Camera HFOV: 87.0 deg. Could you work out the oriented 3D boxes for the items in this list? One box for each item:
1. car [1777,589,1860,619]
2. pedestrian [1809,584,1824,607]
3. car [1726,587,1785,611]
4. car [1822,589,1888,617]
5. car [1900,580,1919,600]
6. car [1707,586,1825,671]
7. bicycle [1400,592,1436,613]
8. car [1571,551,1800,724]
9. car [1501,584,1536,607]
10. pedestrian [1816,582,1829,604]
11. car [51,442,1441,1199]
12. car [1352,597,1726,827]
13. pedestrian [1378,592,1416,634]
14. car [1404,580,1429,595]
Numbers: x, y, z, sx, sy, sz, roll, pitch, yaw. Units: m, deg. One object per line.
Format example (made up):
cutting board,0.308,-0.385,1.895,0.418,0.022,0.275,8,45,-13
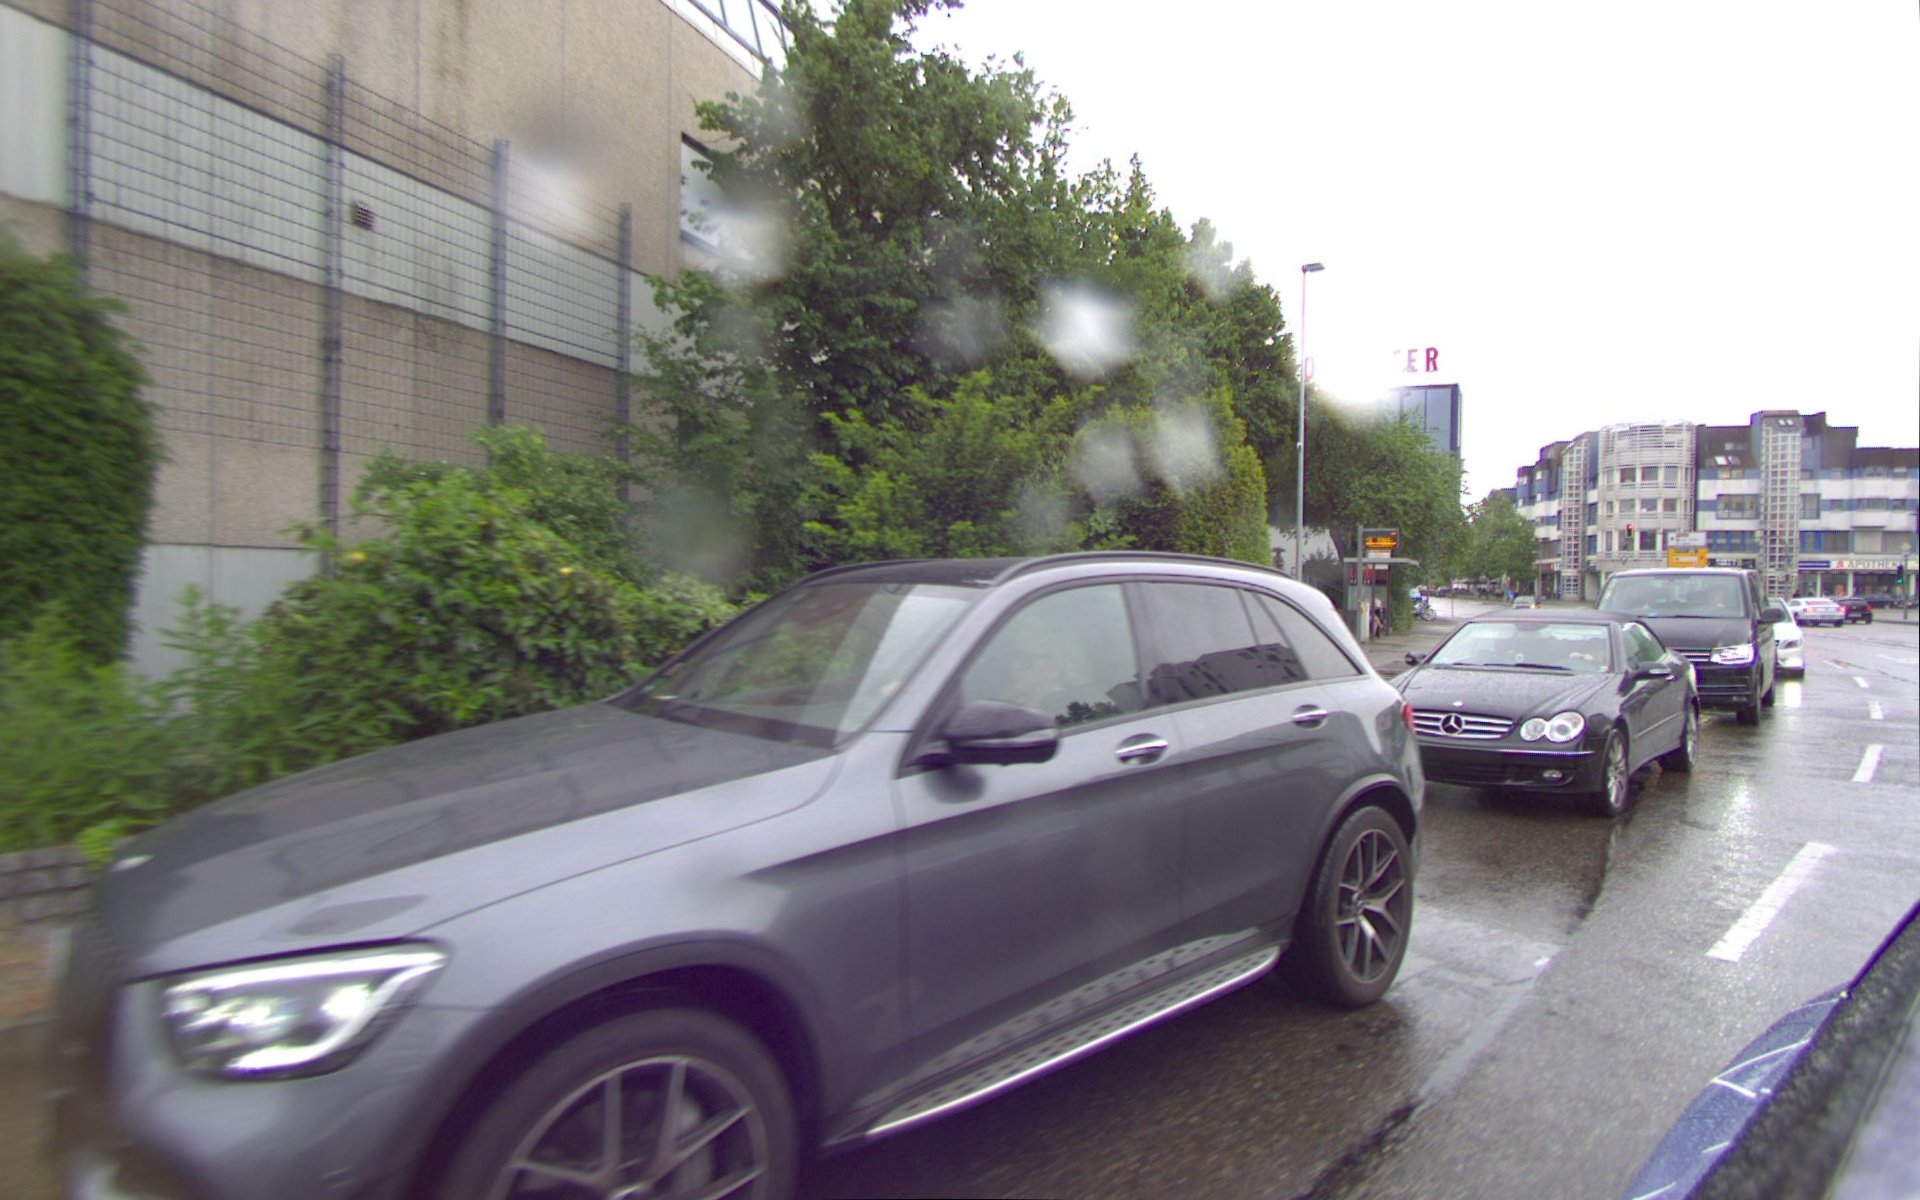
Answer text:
car,43.745,0.169,51.689,1.827,1.479,4.772,0,1,23
pedestrian,66.783,-0.348,78.913,0.833,1.765,0.578,0,0,34
car,53.361,-0.071,67.985,1.682,1.484,4.082,2,1,17
car,48.526,0.170,54.949,1.747,1.445,3.961,0,0,28
car,84.637,-0.836,88.010,3.833,1.742,1.742,0,0,10
car,16.523,0.507,20.827,1.754,1.569,4.267,0,0,38
bicycle,26.415,0.155,58.365,1.818,1.124,0.688,2,1,27
car,9.848,0.375,13.578,1.995,1.918,4.517,0,1,42
car,40.173,-0.329,72.850,1.718,1.616,3.971,0,1,22
pedestrian,67.937,-0.547,79.721,0.574,1.765,0.683,-1,0,-36
car,-0.222,0.596,3.452,4.261,1.641,1.904,0,0,-42
car,5.021,0.687,8.450,1.632,1.403,4.442,0,0,45
pedestrian,13.962,0.405,32.343,1.023,1.297,0.686,3,1,27
car,48.498,-1.337,107.548,1.876,1.545,3.978,0,1,18
